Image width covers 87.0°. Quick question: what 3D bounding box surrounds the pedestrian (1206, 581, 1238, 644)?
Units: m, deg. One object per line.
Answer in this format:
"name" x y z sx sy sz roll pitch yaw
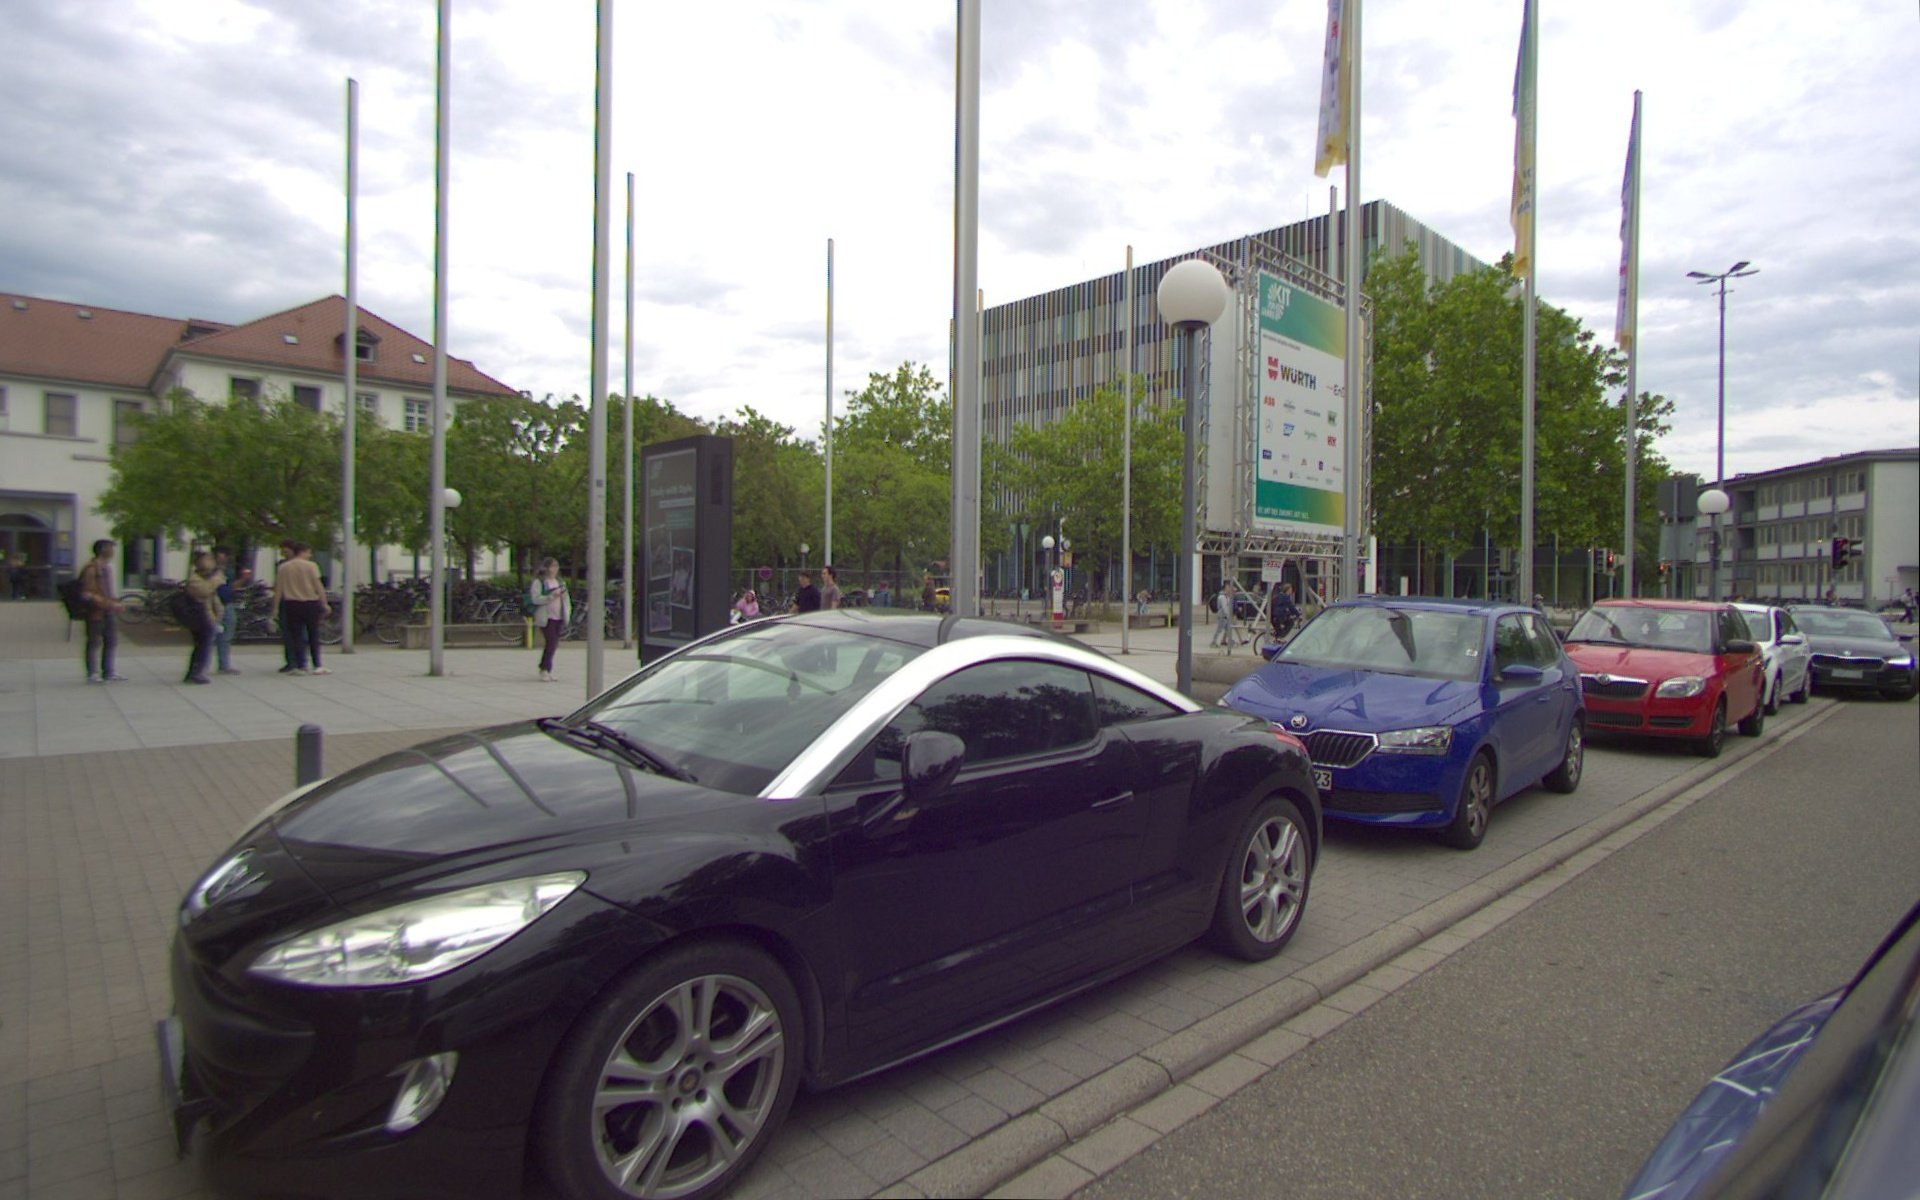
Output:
"pedestrian" 7.299 0.329 28.215 0.574 1.737 0.658 0 0 -29

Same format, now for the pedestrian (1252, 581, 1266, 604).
"pedestrian" 23.659 -0.599 80.185 0.788 1.810 0.761 0 2 -42

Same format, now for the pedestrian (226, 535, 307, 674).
"pedestrian" -9.694 0.052 14.156 0.769 1.888 0.600 1 1 19

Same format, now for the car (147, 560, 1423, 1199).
"car" -0.148 0.710 3.753 4.342 1.460 1.851 2 -1 -43

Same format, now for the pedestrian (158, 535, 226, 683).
"pedestrian" -9.397 0.099 12.382 0.593 1.737 0.778 0 0 -42

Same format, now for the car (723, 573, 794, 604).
"car" -11.973 -0.713 60.351 1.983 1.775 4.023 1 1 30

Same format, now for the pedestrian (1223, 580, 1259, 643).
"pedestrian" 8.012 0.326 28.817 0.665 1.737 0.673 -1 -1 -32

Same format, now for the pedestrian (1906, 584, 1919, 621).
"pedestrian" 46.597 0.129 48.939 0.831 1.811 0.893 1 0 4

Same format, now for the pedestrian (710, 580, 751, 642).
"pedestrian" -5.470 0.249 24.126 0.664 1.431 0.766 0 1 15

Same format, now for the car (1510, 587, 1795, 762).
"car" 7.746 0.670 11.152 4.202 1.491 1.714 0 3 -44

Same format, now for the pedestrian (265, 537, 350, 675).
"pedestrian" -8.854 0.068 13.743 0.759 1.807 0.728 1 0 33

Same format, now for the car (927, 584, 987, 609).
"car" -0.238 -0.284 69.541 1.965 1.638 4.188 0 1 -40

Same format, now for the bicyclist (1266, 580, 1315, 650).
"bicyclist" 7.918 0.351 24.312 0.851 1.662 0.876 1 0 -2

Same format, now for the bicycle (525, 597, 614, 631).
"bicycle" -14.747 0.535 38.277 3.053 1.185 0.746 3 -3 -42

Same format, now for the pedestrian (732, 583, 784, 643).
"pedestrian" -4.984 0.315 25.016 0.847 1.438 0.956 1 1 36

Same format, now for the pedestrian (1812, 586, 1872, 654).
"pedestrian" 21.959 0.484 25.211 1.037 1.640 0.649 1 1 35

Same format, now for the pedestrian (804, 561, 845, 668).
"pedestrian" -2.223 0.258 16.735 0.635 1.735 0.782 1 -4 -6

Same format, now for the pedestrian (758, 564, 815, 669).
"pedestrian" -3.023 0.282 17.592 0.679 1.734 0.911 4 -1 -23

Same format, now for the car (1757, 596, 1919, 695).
"car" 15.393 0.694 17.647 1.854 1.419 4.426 4 2 33

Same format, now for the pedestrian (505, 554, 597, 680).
"pedestrian" -5.636 0.236 13.955 0.735 1.662 0.916 -1 -3 45

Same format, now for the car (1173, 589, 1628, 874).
"car" 3.433 0.656 7.382 1.695 1.429 4.308 2 2 43

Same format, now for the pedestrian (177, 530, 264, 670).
"pedestrian" -9.940 -0.011 13.606 0.716 1.807 0.728 1 0 33

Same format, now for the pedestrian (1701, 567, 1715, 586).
"pedestrian" 69.859 -2.196 94.515 0.765 1.811 0.758 1 1 15

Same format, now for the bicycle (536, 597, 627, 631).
"bicycle" -13.947 0.531 37.391 3.053 1.185 0.746 3 -3 -42

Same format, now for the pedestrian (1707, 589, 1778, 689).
"pedestrian" 14.540 0.695 18.816 0.805 1.810 0.794 0 1 -31

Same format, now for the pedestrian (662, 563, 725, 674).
"pedestrian" -4.216 0.268 15.990 0.693 1.690 0.756 -1 1 -42

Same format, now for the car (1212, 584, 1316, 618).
"car" 15.743 0.049 52.589 1.967 1.683 4.828 0 0 -43

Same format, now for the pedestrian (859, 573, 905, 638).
"pedestrian" -2.136 0.144 27.657 0.845 1.725 0.959 2 1 29

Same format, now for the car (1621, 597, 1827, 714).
"car" 11.389 0.706 15.003 3.794 1.471 1.862 0 1 -44

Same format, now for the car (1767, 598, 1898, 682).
"car" 18.649 0.772 21.573 4.036 1.520 1.624 -1 3 -43

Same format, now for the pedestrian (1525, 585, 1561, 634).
"pedestrian" 19.984 0.315 34.696 0.777 1.647 0.758 0 0 -29

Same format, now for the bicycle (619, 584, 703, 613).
"bicycle" -12.908 -0.067 43.784 3.332 1.184 1.055 -1 1 -38

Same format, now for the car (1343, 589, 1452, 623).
"car" 20.355 0.231 47.187 1.967 1.508 4.282 -1 1 -43

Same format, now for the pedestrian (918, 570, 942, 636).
"pedestrian" -0.854 0.086 28.983 0.660 1.856 0.512 0 1 -3

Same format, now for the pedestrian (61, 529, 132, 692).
"pedestrian" -10.249 0.127 12.010 0.609 1.864 0.591 1 -2 -42
